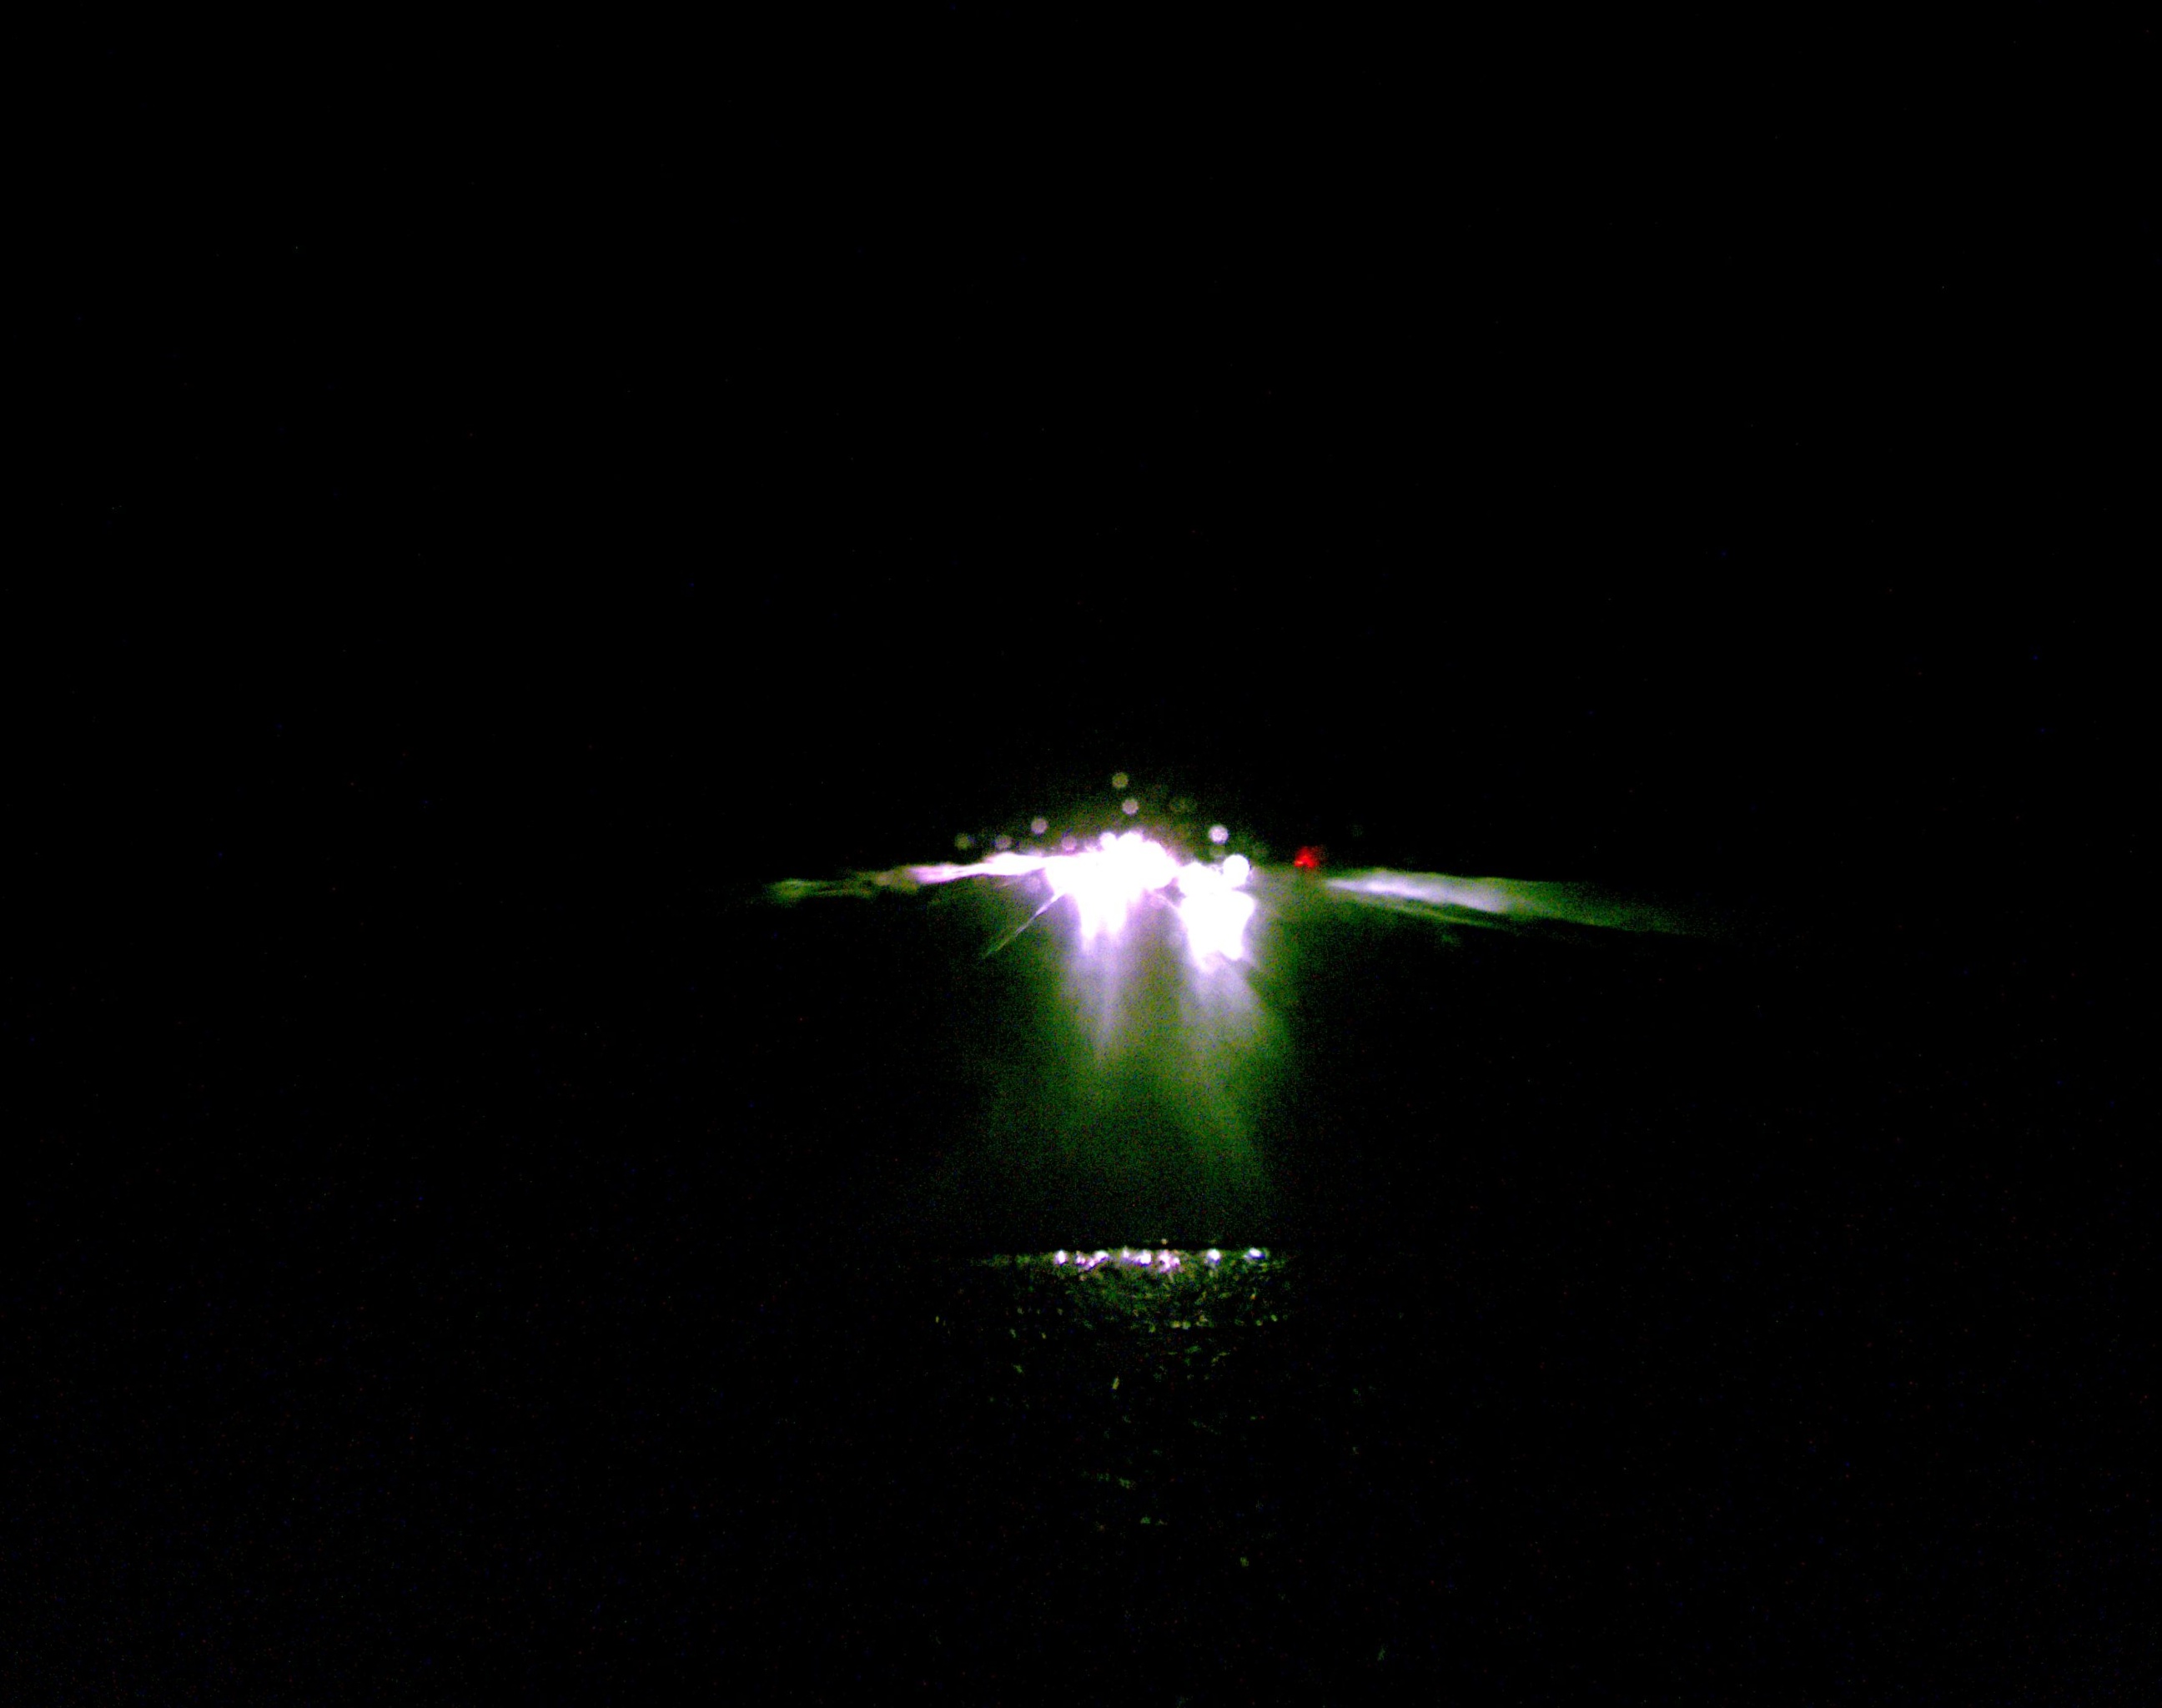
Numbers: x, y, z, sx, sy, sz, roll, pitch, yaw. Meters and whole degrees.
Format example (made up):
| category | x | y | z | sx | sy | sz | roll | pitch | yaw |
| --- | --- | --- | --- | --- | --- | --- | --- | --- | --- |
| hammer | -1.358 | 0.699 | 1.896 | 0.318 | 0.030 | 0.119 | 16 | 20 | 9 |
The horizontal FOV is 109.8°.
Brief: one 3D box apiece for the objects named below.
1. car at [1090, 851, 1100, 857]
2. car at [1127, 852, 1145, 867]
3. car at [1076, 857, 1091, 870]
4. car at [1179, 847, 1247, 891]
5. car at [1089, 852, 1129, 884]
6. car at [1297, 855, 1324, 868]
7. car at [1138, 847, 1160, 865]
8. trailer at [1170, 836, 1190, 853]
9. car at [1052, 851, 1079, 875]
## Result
| category | x | y | z | sx | sy | sz | roll | pitch | yaw |
| --- | --- | --- | --- | --- | --- | --- | --- | --- | --- |
| car | 3.107 | -0.019 | 172.778 | 1.999 | 1.149 | 3.999 | 1 | 1 | -2 |
| car | 6.887 | 0.646 | 95.293 | 1.998 | 1.745 | 4.000 | -1 | 1 | 1 |
| car | 0.410 | 1.399 | 108.524 | 1.998 | 1.745 | 4.000 | 0 | 1 | 3 |
| car | 5.093 | 0.528 | 29.870 | 2.309 | 1.600 | 3.872 | 1 | 1 | 6 |
| car | 1.688 | 0.779 | 43.808 | 1.997 | 1.667 | 4.001 | 1 | 1 | 6 |
| car | 27.313 | 0.878 | 90.410 | 1.998 | 1.477 | 4.000 | -3 | 0 | 1 |
| car | 6.616 | 0.165 | 73.988 | 1.998 | 1.667 | 4.000 | 1 | 1 | 3 |
| trailer | 27.466 | -2.662 | 211.590 | 4.177 | 4.597 | 13.958 | 1 | 1 | 2 |
| car | -1.332 | 0.751 | 68.037 | 1.998 | 2.002 | 4.001 | 1 | 1 | 4 |
